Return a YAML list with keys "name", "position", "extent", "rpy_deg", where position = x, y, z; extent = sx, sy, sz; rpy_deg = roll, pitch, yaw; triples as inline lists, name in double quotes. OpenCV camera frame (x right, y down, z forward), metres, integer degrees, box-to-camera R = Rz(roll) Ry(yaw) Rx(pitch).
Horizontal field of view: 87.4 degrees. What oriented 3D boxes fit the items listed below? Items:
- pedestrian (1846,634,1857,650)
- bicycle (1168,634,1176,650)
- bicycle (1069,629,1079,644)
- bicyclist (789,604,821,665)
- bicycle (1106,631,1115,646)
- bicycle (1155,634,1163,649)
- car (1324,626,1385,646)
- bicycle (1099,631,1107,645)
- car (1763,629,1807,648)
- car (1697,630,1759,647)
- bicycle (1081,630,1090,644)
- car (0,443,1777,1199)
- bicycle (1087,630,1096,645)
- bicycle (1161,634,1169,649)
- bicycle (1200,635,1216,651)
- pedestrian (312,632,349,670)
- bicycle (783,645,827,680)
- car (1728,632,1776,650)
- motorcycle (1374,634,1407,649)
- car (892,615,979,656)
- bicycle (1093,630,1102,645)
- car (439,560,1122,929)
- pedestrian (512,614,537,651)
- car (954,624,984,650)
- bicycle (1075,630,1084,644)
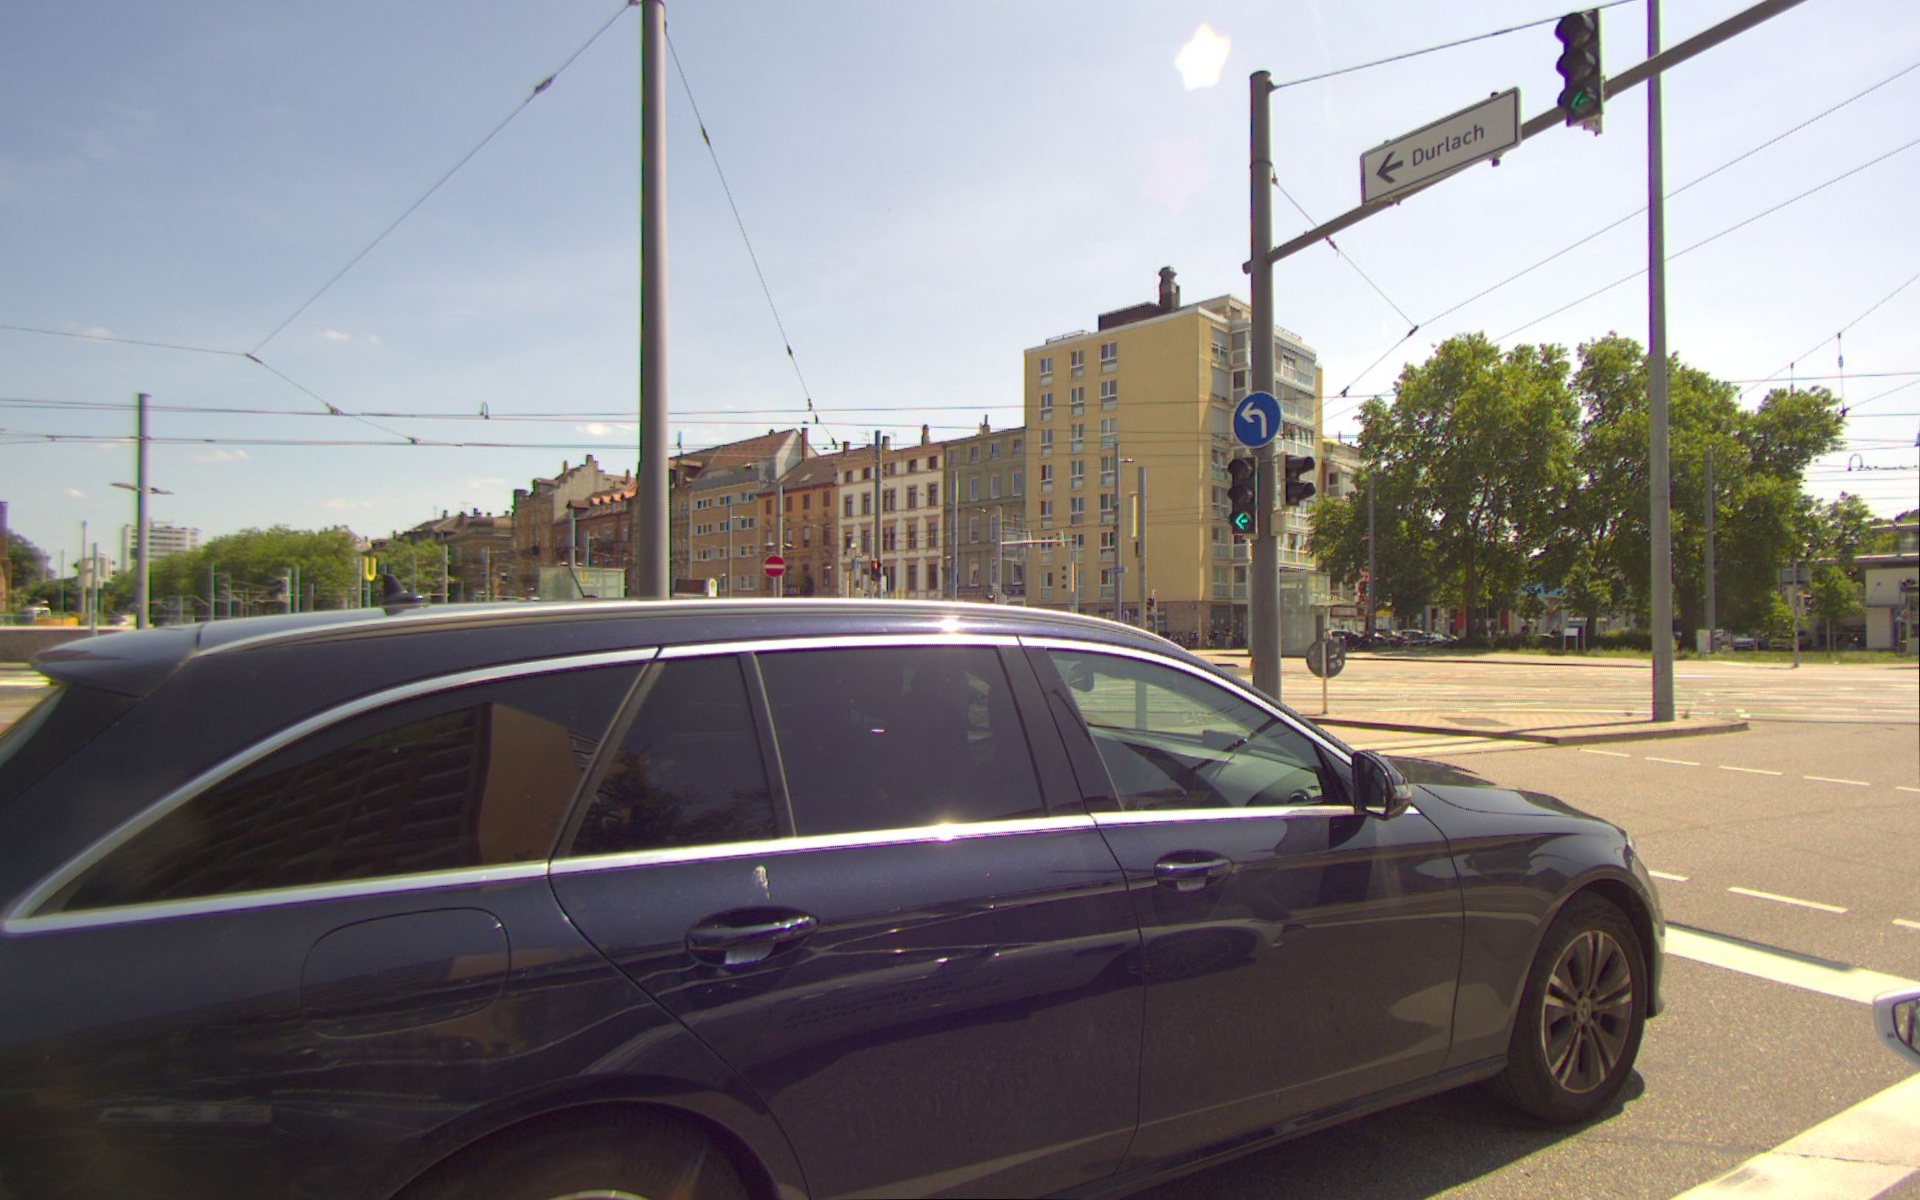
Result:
- name: "pedestrian"
  position: [68.902, 3.257, 77.613]
  extent: [0.439, 1.220, 0.511]
  rpy_deg: [1, -1, -24]
- name: "bicycle"
  position: [14.414, 2.853, 68.418]
  extent: [0.424, 1.040, 1.445]
  rpy_deg: [0, -1, 16]
- name: "bicycle"
  position: [8.429, 2.692, 74.227]
  extent: [0.424, 1.040, 1.445]
  rpy_deg: [0, -1, 16]
- name: "bicyclist"
  position: [-4.093, 0.896, 26.463]
  extent: [0.433, 1.549, 1.245]
  rpy_deg: [2, 0, -26]
- name: "bicycle"
  position: [10.828, 2.759, 72.181]
  extent: [0.424, 1.040, 1.445]
  rpy_deg: [0, -1, 16]
- name: "bicycle"
  position: [13.672, 2.832, 68.996]
  extent: [0.424, 1.040, 1.445]
  rpy_deg: [0, -1, 16]
- name: "car"
  position: [29.800, 2.728, 75.920]
  extent: [3.936, 1.439, 1.993]
  rpy_deg: [-1, -2, 36]
- name: "bicycle"
  position: [10.311, 2.743, 72.442]
  extent: [0.424, 1.040, 1.445]
  rpy_deg: [0, -1, 16]
- name: "car"
  position: [69.143, 3.242, 84.208]
  extent: [4.282, 1.530, 1.756]
  rpy_deg: [1, -2, -35]
- name: "car"
  position: [71.041, 3.568, 92.947]
  extent: [4.246, 1.530, 1.771]
  rpy_deg: [-1, -2, 26]
- name: "bicycle"
  position: [9.195, 2.713, 73.448]
  extent: [0.424, 1.040, 1.445]
  rpy_deg: [0, -1, 16]
- name: "car"
  position: [0.144, 0.684, 2.869]
  extent: [4.747, 1.662, 1.789]
  rpy_deg: [1, 0, -29]
- name: "bicycle"
  position: [9.556, 2.723, 73.138]
  extent: [0.424, 1.040, 1.445]
  rpy_deg: [0, -1, 16]
- name: "bicycle"
  position: [14.045, 2.842, 68.684]
  extent: [0.424, 1.040, 1.445]
  rpy_deg: [0, -1, 16]
- name: "bicycle"
  position: [16.827, 2.932, 68.141]
  extent: [0.427, 1.040, 1.435]
  rpy_deg: [-1, -2, 44]
- name: "pedestrian"
  position: [-22.708, 1.826, 36.231]
  extent: [0.978, 1.352, 0.527]
  rpy_deg: [0, -1, 2]
- name: "bicycle"
  position: [-4.071, 1.616, 26.282]
  extent: [0.620, 0.866, 1.888]
  rpy_deg: [1, -2, -26]
- name: "car"
  position: [68.339, 3.496, 86.680]
  extent: [4.274, 1.530, 1.759]
  rpy_deg: [1, -2, -29]
- name: "motorcycle"
  position: [27.287, 2.619, 63.639]
  extent: [1.887, 0.974, 0.524]
  rpy_deg: [-1, -1, 31]
- name: "car"
  position: [-1.355, 1.885, 53.833]
  extent: [1.987, 2.084, 4.808]
  rpy_deg: [2, -2, -44]
- name: "bicycle"
  position: [9.996, 2.735, 72.841]
  extent: [0.424, 1.040, 1.445]
  rpy_deg: [0, -1, 16]
- name: "car"
  position: [-1.024, 0.675, 6.036]
  extent: [3.692, 1.597, 1.736]
  rpy_deg: [1, -2, -29]
- name: "pedestrian"
  position: [-21.579, 1.607, 49.753]
  extent: [1.114, 1.837, 0.677]
  rpy_deg: [-1, -2, 38]
- name: "car"
  position: [0.589, 2.570, 70.331]
  extent: [1.803, 1.773, 3.998]
  rpy_deg: [0, -1, -4]
- name: "bicycle"
  position: [8.770, 2.701, 73.886]
  extent: [0.424, 1.040, 1.445]
  rpy_deg: [0, -1, 16]
